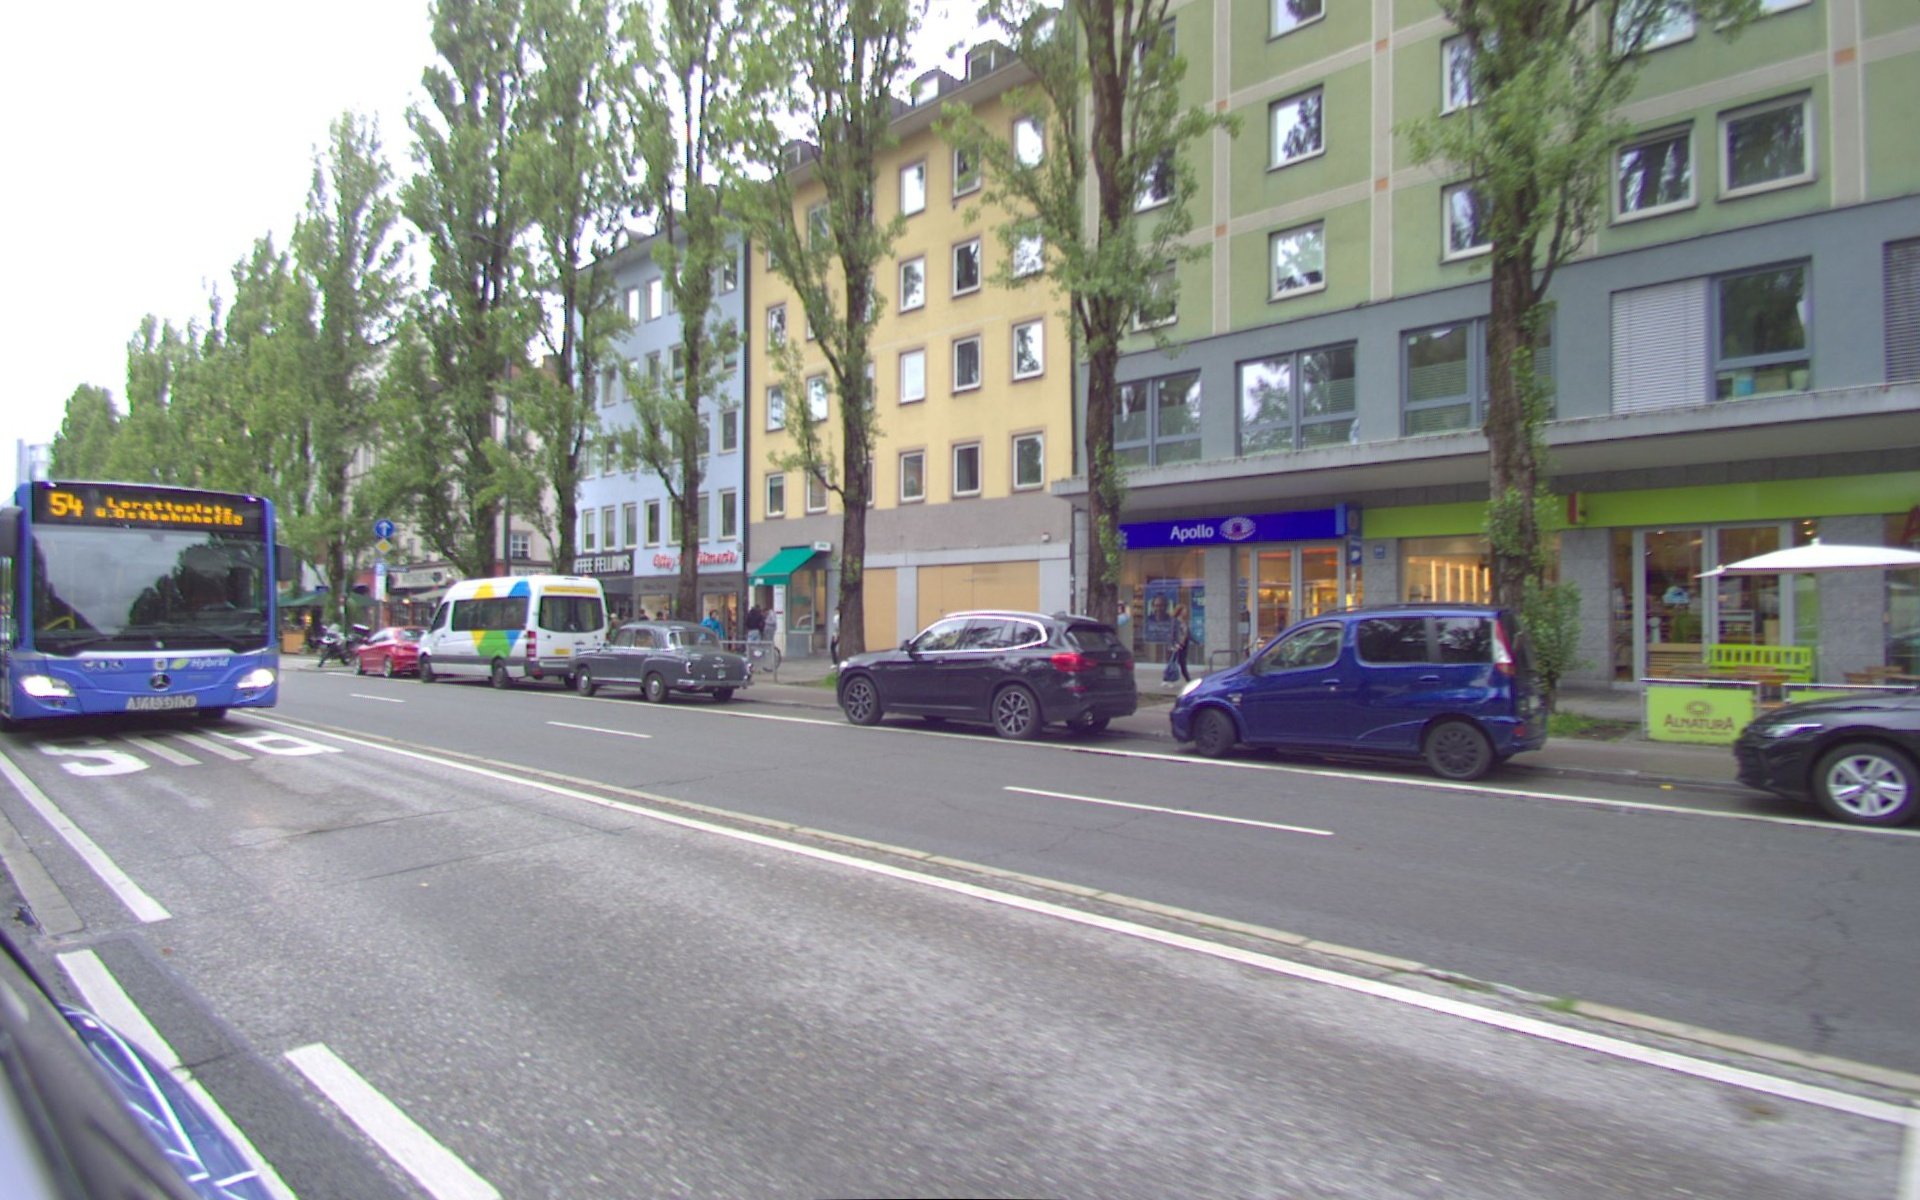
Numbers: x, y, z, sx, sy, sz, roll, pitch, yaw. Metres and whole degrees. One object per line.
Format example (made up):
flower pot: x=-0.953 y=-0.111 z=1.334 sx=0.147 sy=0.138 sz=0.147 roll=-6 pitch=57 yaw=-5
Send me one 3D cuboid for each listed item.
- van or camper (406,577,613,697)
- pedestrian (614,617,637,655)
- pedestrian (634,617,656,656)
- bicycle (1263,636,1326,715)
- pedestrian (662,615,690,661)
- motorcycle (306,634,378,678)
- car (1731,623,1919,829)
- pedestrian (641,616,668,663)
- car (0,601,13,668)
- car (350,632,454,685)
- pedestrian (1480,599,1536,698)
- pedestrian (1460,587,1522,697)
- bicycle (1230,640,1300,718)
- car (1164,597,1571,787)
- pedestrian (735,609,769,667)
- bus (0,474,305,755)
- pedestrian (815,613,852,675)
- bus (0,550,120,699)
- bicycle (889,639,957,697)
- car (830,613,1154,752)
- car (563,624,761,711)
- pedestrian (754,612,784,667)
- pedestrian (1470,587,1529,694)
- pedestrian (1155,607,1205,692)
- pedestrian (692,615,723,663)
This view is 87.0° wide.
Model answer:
van or camper: x=-11.157 y=0.908 z=24.741 sx=6.642 sy=2.570 sz=2.102 roll=-2 pitch=-3 yaw=43
pedestrian: x=-12.621 y=1.353 z=38.176 sx=0.550 sy=1.449 sz=0.602 roll=-2 pitch=-2 yaw=40
pedestrian: x=-12.054 y=1.395 z=38.710 sx=0.550 sy=1.449 sz=0.602 roll=-1 pitch=-2 yaw=37
bicycle: x=5.204 y=1.143 z=15.710 sx=0.286 sy=1.159 sz=1.635 roll=-2 pitch=-2 yaw=42
pedestrian: x=-10.388 y=1.389 z=37.038 sx=0.706 sy=1.663 sz=0.714 roll=-2 pitch=-2 yaw=42
motorcycle: x=-20.608 y=1.853 z=33.786 sx=0.569 sy=1.432 sz=2.000 roll=-1 pitch=-2 yaw=35
car: x=8.295 y=0.903 z=7.006 sx=4.584 sy=1.457 sz=1.685 roll=-1 pitch=-2 yaw=42
pedestrian: x=-10.970 y=1.397 z=36.346 sx=0.677 sy=1.663 sz=0.714 roll=-2 pitch=-2 yaw=42
car: x=-34.428 y=1.213 z=35.036 sx=4.409 sy=2.265 sz=1.998 roll=-2 pitch=-1 yaw=42
car: x=-16.186 y=1.644 z=29.283 sx=3.761 sy=1.422 sz=1.538 roll=-2 pitch=-2 yaw=43
pedestrian: x=9.994 y=0.866 z=18.453 sx=0.715 sy=1.768 sz=0.714 roll=-2 pitch=-1 yaw=42
pedestrian: x=8.950 y=0.693 z=17.059 sx=0.715 sy=1.808 sz=0.739 roll=-2 pitch=-1 yaw=42
bicycle: x=4.851 y=1.220 z=16.034 sx=0.361 sy=1.124 sz=1.658 roll=-2 pitch=-1 yaw=42
car: x=4.287 y=0.885 z=10.923 sx=3.768 sy=1.699 sz=1.601 roll=-1 pitch=-4 yaw=40
pedestrian: x=-6.453 y=1.172 z=31.395 sx=0.723 sy=1.779 sz=0.723 roll=-2 pitch=-2 yaw=41
bus: x=-13.817 y=0.306 z=15.874 sx=12.855 sy=2.925 sz=2.769 roll=-2 pitch=-2 yaw=42
pedestrian: x=-3.486 y=1.208 z=27.903 sx=0.712 sy=1.663 sz=0.714 roll=-2 pitch=-2 yaw=42
bus: x=-23.336 y=0.616 z=24.562 sx=12.855 sy=2.925 sz=2.769 roll=-2 pitch=-2 yaw=42
bicycle: x=-0.742 y=1.378 z=20.829 sx=0.358 sy=1.124 sz=1.657 roll=-2 pitch=-2 yaw=42
car: x=0.315 y=1.035 z=14.135 sx=4.502 sy=1.645 sz=1.685 roll=-1 pitch=-3 yaw=42
car: x=-5.985 y=1.267 z=20.081 sx=4.258 sy=1.541 sz=1.685 roll=-1 pitch=-3 yaw=40
pedestrian: x=-6.023 y=1.231 z=31.978 sx=0.723 sy=1.717 sz=0.632 roll=-2 pitch=-2 yaw=42
pedestrian: x=9.329 y=0.687 z=17.503 sx=0.715 sy=1.808 sz=0.739 roll=-2 pitch=-1 yaw=42
pedestrian: x=4.385 y=0.976 z=20.188 sx=0.712 sy=1.663 sz=0.714 roll=-2 pitch=-2 yaw=42
pedestrian: x=-7.801 y=1.201 z=31.314 sx=0.550 sy=1.449 sz=0.759 roll=-1 pitch=-2 yaw=37
